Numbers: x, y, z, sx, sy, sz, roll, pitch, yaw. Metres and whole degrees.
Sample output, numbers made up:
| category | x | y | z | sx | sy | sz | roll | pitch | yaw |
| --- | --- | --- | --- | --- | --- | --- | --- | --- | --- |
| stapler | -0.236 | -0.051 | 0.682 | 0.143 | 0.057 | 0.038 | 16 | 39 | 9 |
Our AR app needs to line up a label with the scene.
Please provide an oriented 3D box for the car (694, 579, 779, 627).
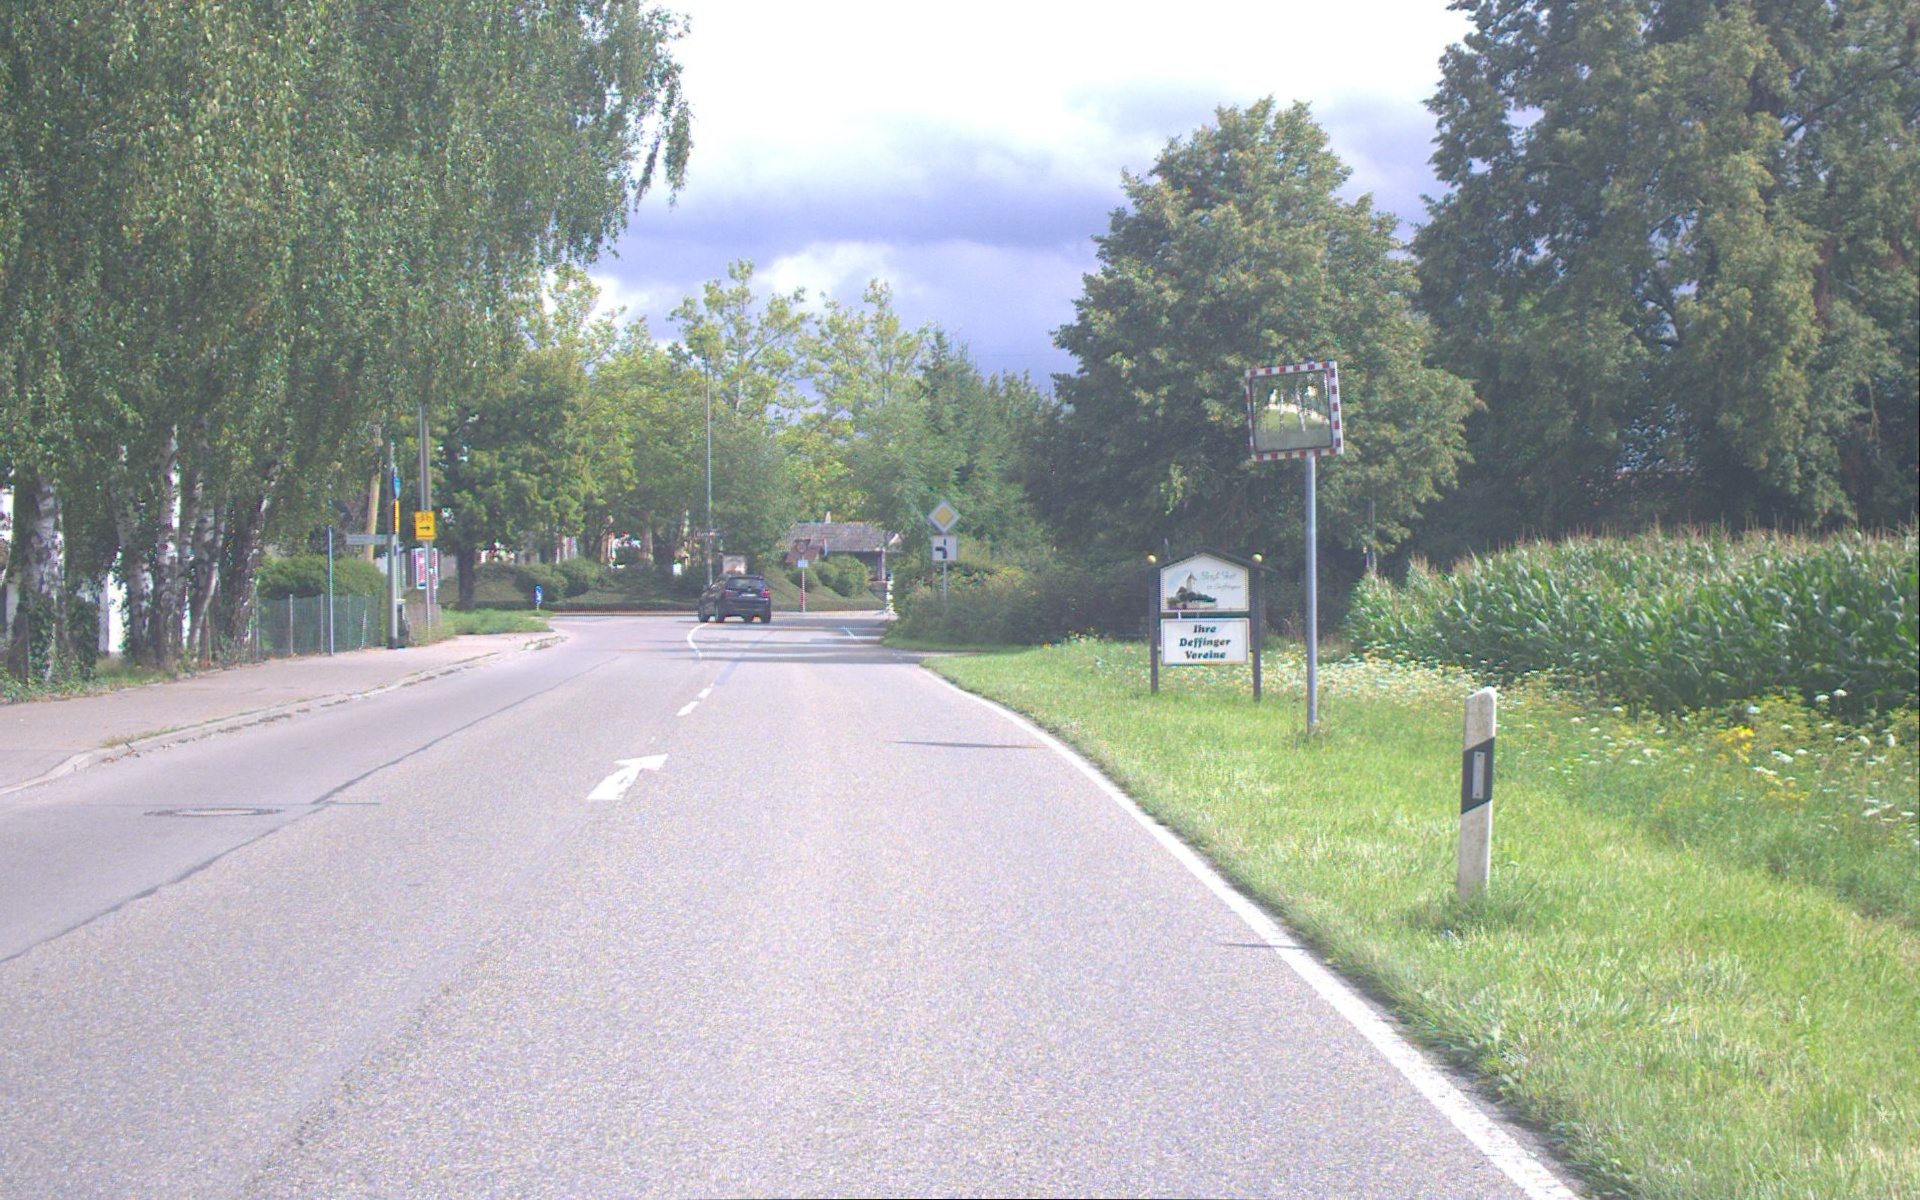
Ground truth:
| category | x | y | z | sx | sy | sz | roll | pitch | yaw |
| --- | --- | --- | --- | --- | --- | --- | --- | --- | --- |
| car | -7.714 | 0.088 | 118.296 | 1.993 | 1.579 | 4.001 | 0 | 1 | -18 |
